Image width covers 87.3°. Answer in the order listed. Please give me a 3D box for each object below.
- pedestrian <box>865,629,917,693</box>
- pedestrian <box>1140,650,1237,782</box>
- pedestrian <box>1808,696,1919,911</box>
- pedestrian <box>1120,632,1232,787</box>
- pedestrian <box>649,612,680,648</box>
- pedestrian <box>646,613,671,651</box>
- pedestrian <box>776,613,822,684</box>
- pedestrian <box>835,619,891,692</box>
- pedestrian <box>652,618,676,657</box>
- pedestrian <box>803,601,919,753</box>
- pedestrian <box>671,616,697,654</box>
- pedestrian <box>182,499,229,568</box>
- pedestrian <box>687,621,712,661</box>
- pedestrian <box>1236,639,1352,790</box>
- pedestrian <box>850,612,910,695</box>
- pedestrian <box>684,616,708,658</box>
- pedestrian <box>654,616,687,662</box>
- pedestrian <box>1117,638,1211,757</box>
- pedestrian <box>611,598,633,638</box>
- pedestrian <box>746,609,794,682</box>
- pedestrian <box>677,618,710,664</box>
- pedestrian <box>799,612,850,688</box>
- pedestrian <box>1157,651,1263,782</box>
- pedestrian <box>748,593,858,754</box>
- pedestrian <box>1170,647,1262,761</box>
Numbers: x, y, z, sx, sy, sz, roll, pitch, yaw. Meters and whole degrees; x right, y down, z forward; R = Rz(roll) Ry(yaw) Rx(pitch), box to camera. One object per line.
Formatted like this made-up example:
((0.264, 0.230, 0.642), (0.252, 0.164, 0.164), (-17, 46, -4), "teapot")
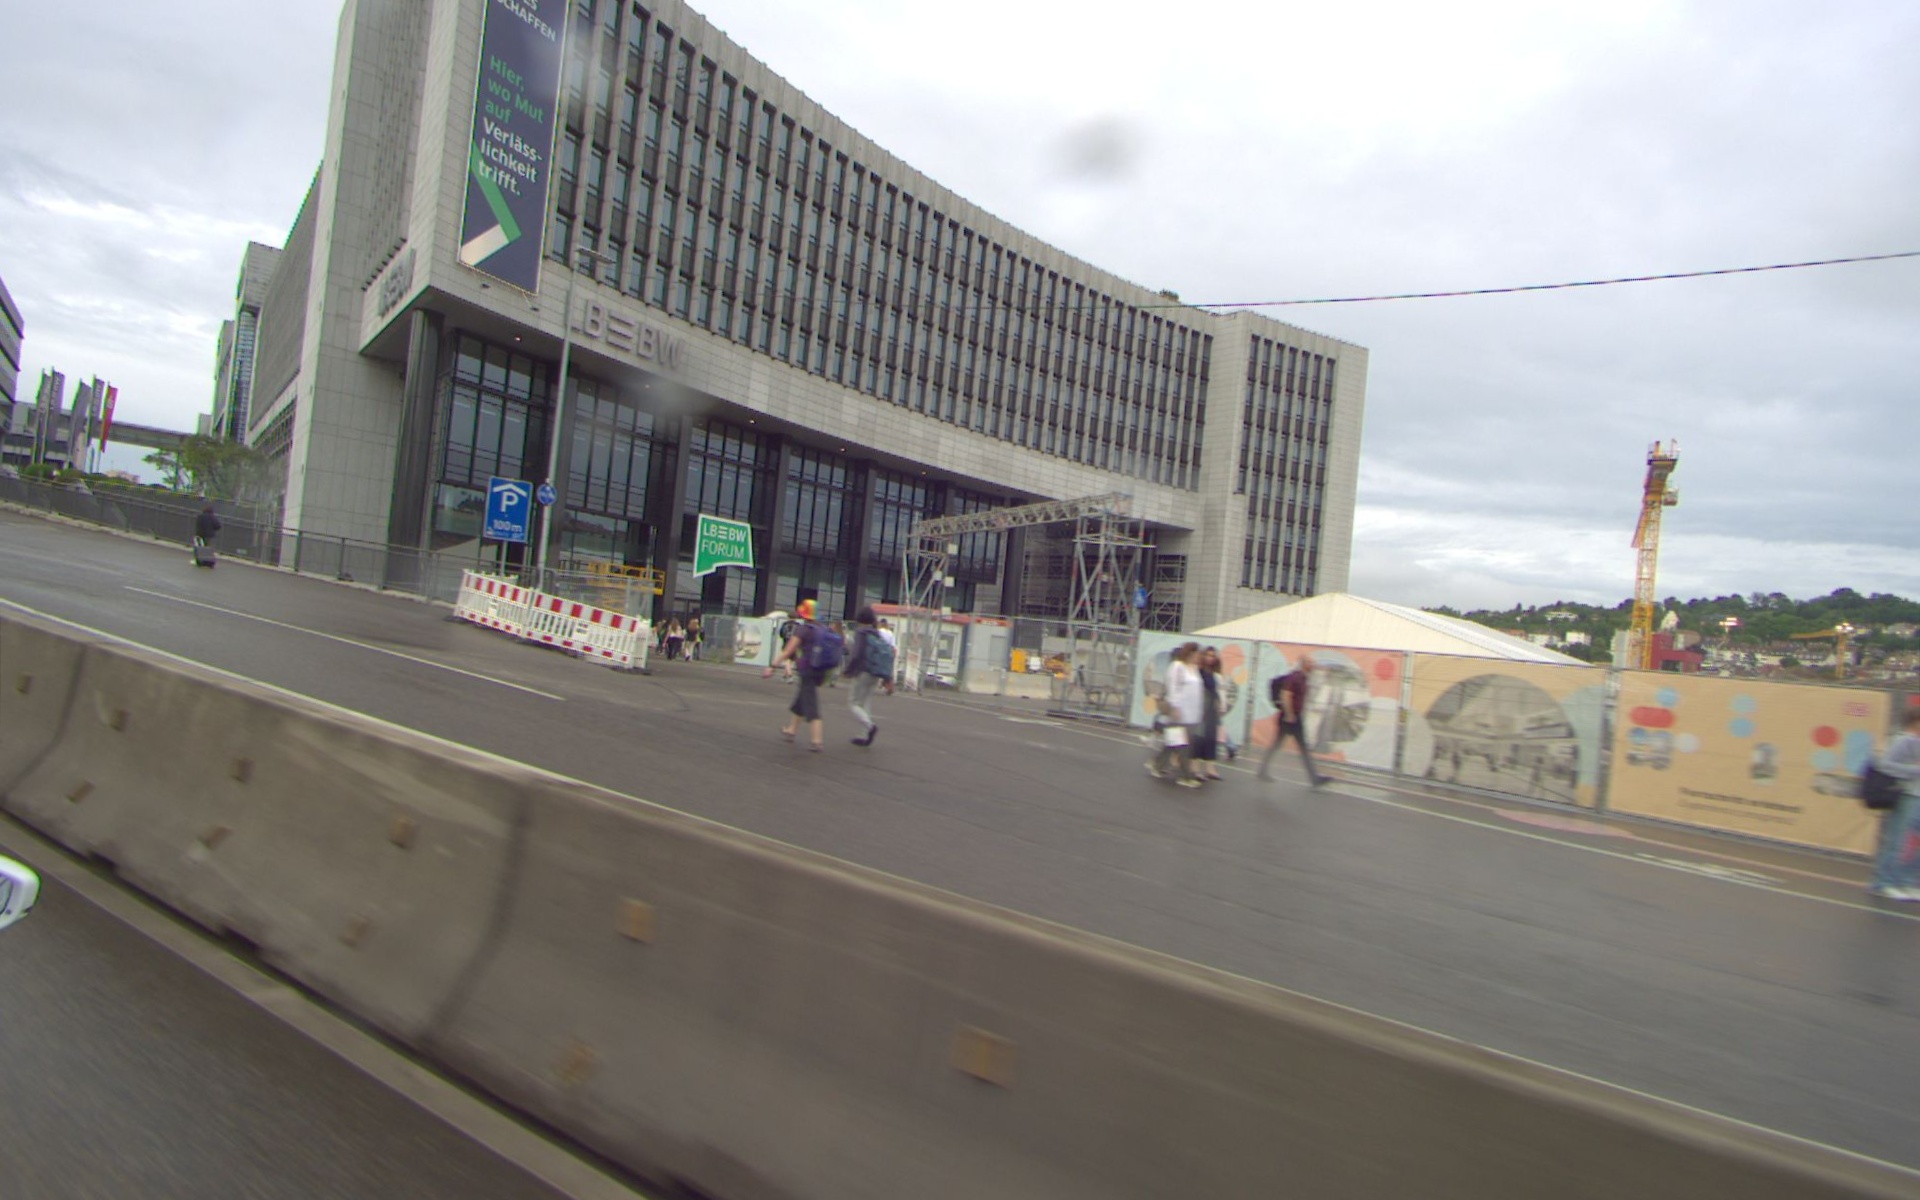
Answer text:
((-1.853, 1.628, 26.914), (0.859, 1.572, 1.000), (7, -1, -30), "pedestrian")
((2.901, 1.461, 12.789), (0.606, 1.541, 0.876), (7, -1, -40), "pedestrian")
((8.999, 1.928, 9.647), (0.809, 1.871, 0.927), (6, 0, -23), "pedestrian")
((2.625, 1.320, 12.254), (0.774, 1.743, 0.881), (7, -1, -40), "pedestrian")
((-14.699, 1.518, 49.997), (0.854, 1.656, 1.007), (6, -1, 27), "pedestrian")
((-14.220, 1.499, 47.422), (0.854, 1.656, 1.007), (6, -1, -10), "pedestrian")
((-4.010, 1.196, 25.018), (0.692, 1.656, 0.909), (6, -1, -30), "pedestrian")
((-2.406, 1.367, 24.908), (0.859, 1.656, 1.000), (7, -1, -30), "pedestrian")
((-13.604, 1.718, 46.289), (0.855, 1.656, 1.005), (6, -1, -15), "pedestrian")
((-1.162, 0.878, 11.678), (0.854, 1.612, 0.945), (7, -1, -32), "pedestrian")
((-12.982, 1.642, 47.371), (0.858, 1.656, 1.002), (6, -1, -26), "pedestrian")
((-19.630, -1.722, 26.187), (0.724, 1.672, 1.052), (7, 0, -32), "pedestrian")
((-11.278, 1.770, 43.571), (0.727, 1.656, 0.654), (6, 0, 0), "pedestrian")
((4.445, 1.509, 13.421), (0.862, 1.839, 0.997), (7, -1, -40), "pedestrian")
((-1.872, 1.233, 23.391), (0.859, 1.803, 1.000), (6, -1, -30), "pedestrian")
((-12.143, 1.713, 46.289), (0.742, 1.837, 0.641), (6, 0, 0), "pedestrian")
((-11.209, 1.513, 38.970), (0.859, 1.656, 1.000), (7, -1, -30), "pedestrian")
((3.260, 1.555, 16.120), (0.859, 1.746, 1.000), (7, -1, -30), "pedestrian")
((-14.594, 0.794, 43.424), (0.698, 1.635, 0.562), (6, 0, -27), "pedestrian")
((-4.667, 1.113, 24.679), (0.718, 1.656, 0.909), (6, -1, -30), "pedestrian")
((-10.434, 1.617, 39.444), (0.859, 1.656, 1.000), (7, -1, -30), "pedestrian")
((-3.448, 1.256, 25.562), (0.765, 1.805, 1.000), (6, -1, -30), "pedestrian")
((3.307, 1.532, 13.354), (0.711, 1.572, 0.997), (7, -1, -40), "pedestrian")
((-1.695, 0.775, 10.805), (0.727, 1.593, 0.798), (8, -2, -32), "pedestrian")
((4.194, 1.695, 16.526), (0.859, 1.709, 1.000), (7, -1, -30), "pedestrian")
